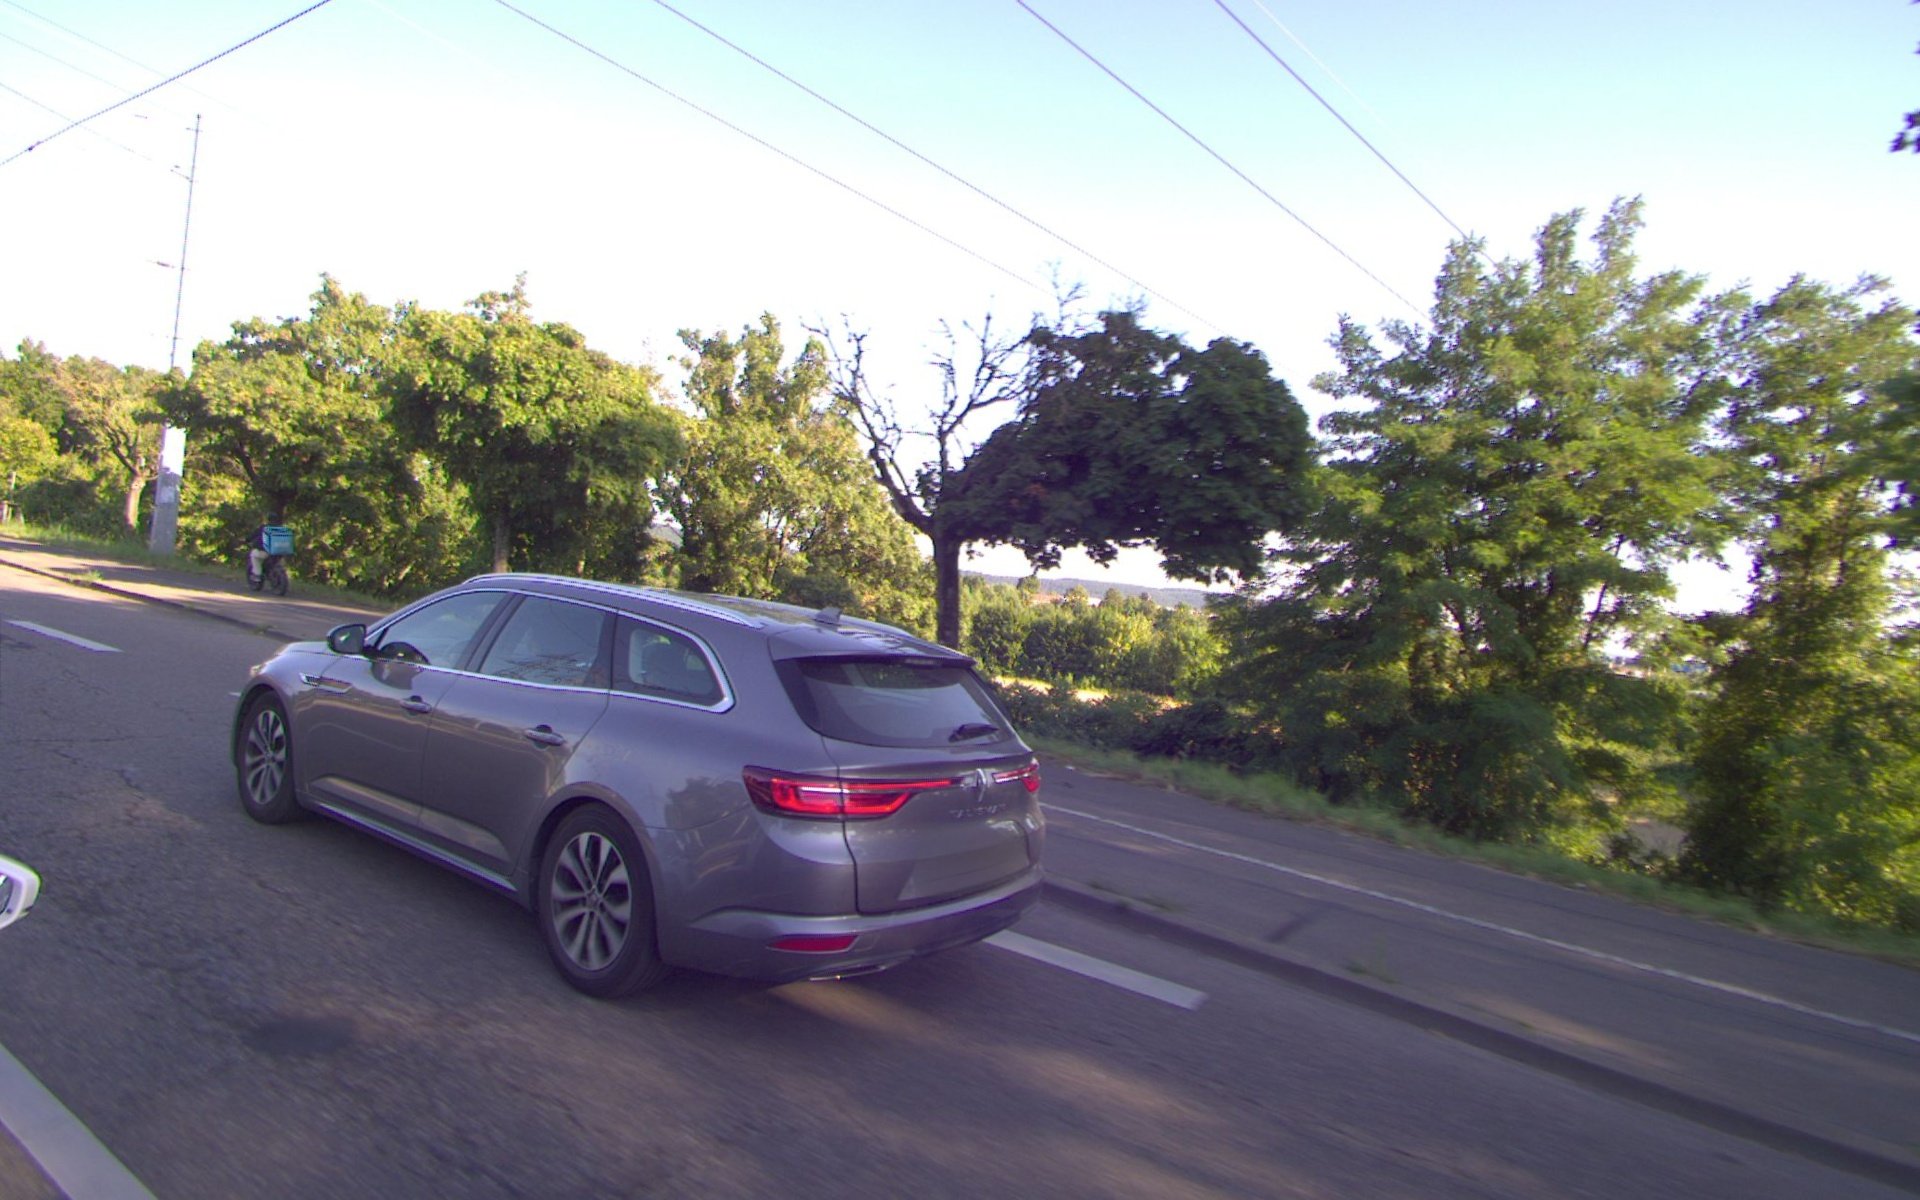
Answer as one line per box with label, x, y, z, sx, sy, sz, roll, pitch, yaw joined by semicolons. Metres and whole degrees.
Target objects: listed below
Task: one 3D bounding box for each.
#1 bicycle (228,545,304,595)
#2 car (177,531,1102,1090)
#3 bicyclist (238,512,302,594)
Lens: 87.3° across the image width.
bicycle;-13.597;-0.587;19.697;1.608;0.845;0.626;6;3;32
car;-1.836;0.621;5.054;4.585;1.460;1.878;6;-1;34
bicyclist;-13.456;-0.914;19.618;1.043;1.491;0.626;6;3;32
